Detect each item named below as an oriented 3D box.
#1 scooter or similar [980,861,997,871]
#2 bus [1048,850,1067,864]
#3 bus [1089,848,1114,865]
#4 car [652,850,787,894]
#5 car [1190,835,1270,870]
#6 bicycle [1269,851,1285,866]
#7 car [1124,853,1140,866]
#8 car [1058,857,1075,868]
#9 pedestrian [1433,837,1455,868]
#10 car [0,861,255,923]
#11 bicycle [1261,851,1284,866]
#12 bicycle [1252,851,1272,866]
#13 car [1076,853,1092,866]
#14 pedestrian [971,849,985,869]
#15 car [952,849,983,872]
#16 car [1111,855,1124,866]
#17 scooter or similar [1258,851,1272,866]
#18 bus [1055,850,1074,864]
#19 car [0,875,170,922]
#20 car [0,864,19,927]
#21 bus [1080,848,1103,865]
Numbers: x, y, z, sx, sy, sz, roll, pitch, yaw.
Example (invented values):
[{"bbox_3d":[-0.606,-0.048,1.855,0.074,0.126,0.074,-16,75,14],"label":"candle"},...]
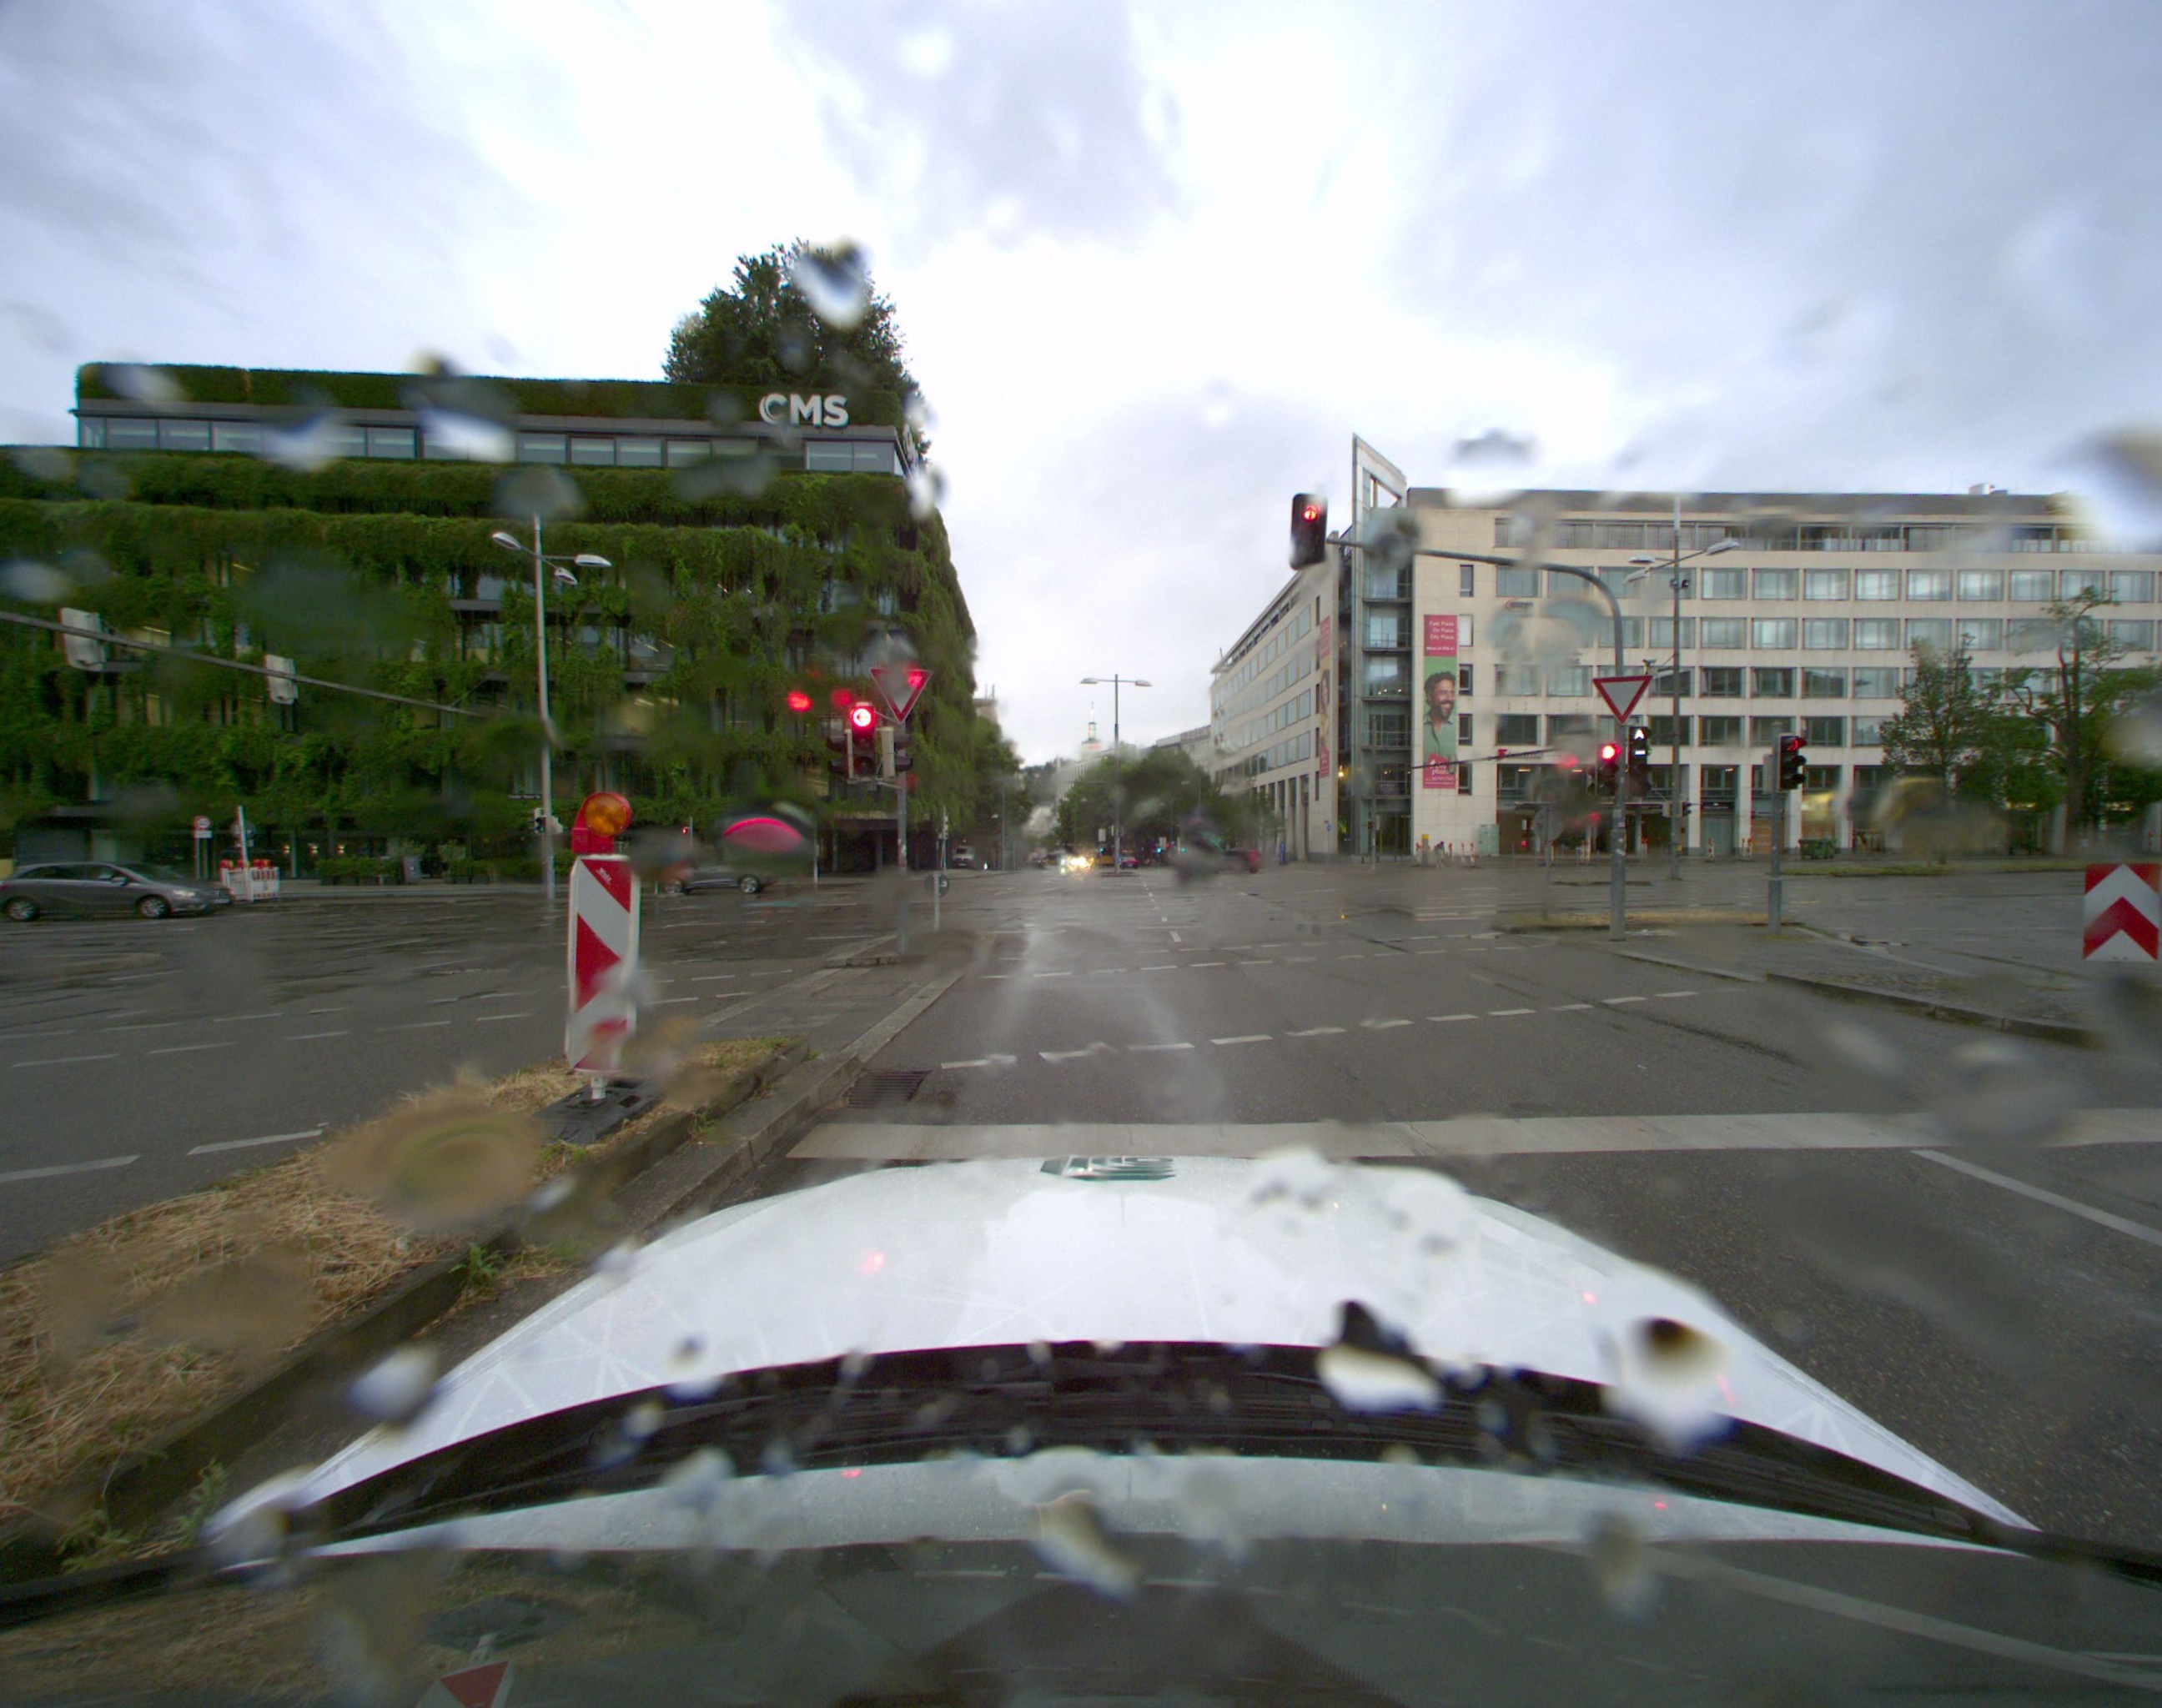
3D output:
[{"bbox_3d":[-9.424,1.183,82.945,0.616,1.004,1.671,-1,0,40],"label":"scooter or similar"},{"bbox_3d":[-5.234,0.628,180.714,2.631,2.995,7.415,-1,0,-13],"label":"bus"},{"bbox_3d":[3.685,0.413,146.086,2.631,2.995,7.415,-1,0,-13],"label":"bus"},{"bbox_3d":[-13.816,0.661,31.399,4.480,1.609,1.823,0,-1,-14],"label":"car"},{"bbox_3d":[9.025,-0.050,49.487,4.608,2.014,1.558,-1,-1,40],"label":"car"},{"bbox_3d":[16.055,0.377,66.733,0.579,1.194,1.794,-1,-1,40],"label":"bicycle"},{"bbox_3d":[6.305,0.662,100.707,1.775,1.508,4.001,0,-1,2],"label":"car"},{"bbox_3d":[-2.355,1.452,134.929,2.163,1.765,4.816,-2,0,-9],"label":"car"},{"bbox_3d":[21.978,-0.094,49.370,0.958,1.816,0.837,0,-1,1],"label":"pedestrian"},{"bbox_3d":[-26.121,0.987,22.062,4.901,1.488,1.924,-1,0,-15],"label":"car"},{"bbox_3d":[15.205,0.366,64.642,1.607,1.194,0.590,-1,-1,27],"label":"bicycle"},{"bbox_3d":[14.732,0.382,66.207,0.588,1.194,1.768,0,-1,-26],"label":"bicycle"},{"bbox_3d":[0.378,0.771,119.612,2.158,1.765,5.110,-1,1,-1],"label":"car"},{"bbox_3d":[-8.271,0.394,65.416,0.930,1.644,0.774,0,-1,1],"label":"pedestrian"},{"bbox_3d":[-9.555,0.537,68.732,1.863,1.839,4.001,0,-1,2],"label":"car"},{"bbox_3d":[5.293,0.945,118.510,1.775,1.508,4.001,0,-1,2],"label":"car"},{"bbox_3d":[14.424,0.366,63.976,0.951,1.194,0.458,-1,-1,42],"label":"scooter or similar"},{"bbox_3d":[-3.538,0.637,173.571,2.631,2.995,7.294,-1,0,-13],"label":"bus"},{"bbox_3d":[-34.388,1.468,27.295,4.730,1.477,1.988,1,-1,-17],"label":"car"},{"bbox_3d":[-27.338,1.005,18.306,3.981,1.475,1.996,-1,0,-6],"label":"car"},{"bbox_3d":[1.992,0.433,153.279,2.631,2.995,7.415,-1,0,-13],"label":"bus"}]
